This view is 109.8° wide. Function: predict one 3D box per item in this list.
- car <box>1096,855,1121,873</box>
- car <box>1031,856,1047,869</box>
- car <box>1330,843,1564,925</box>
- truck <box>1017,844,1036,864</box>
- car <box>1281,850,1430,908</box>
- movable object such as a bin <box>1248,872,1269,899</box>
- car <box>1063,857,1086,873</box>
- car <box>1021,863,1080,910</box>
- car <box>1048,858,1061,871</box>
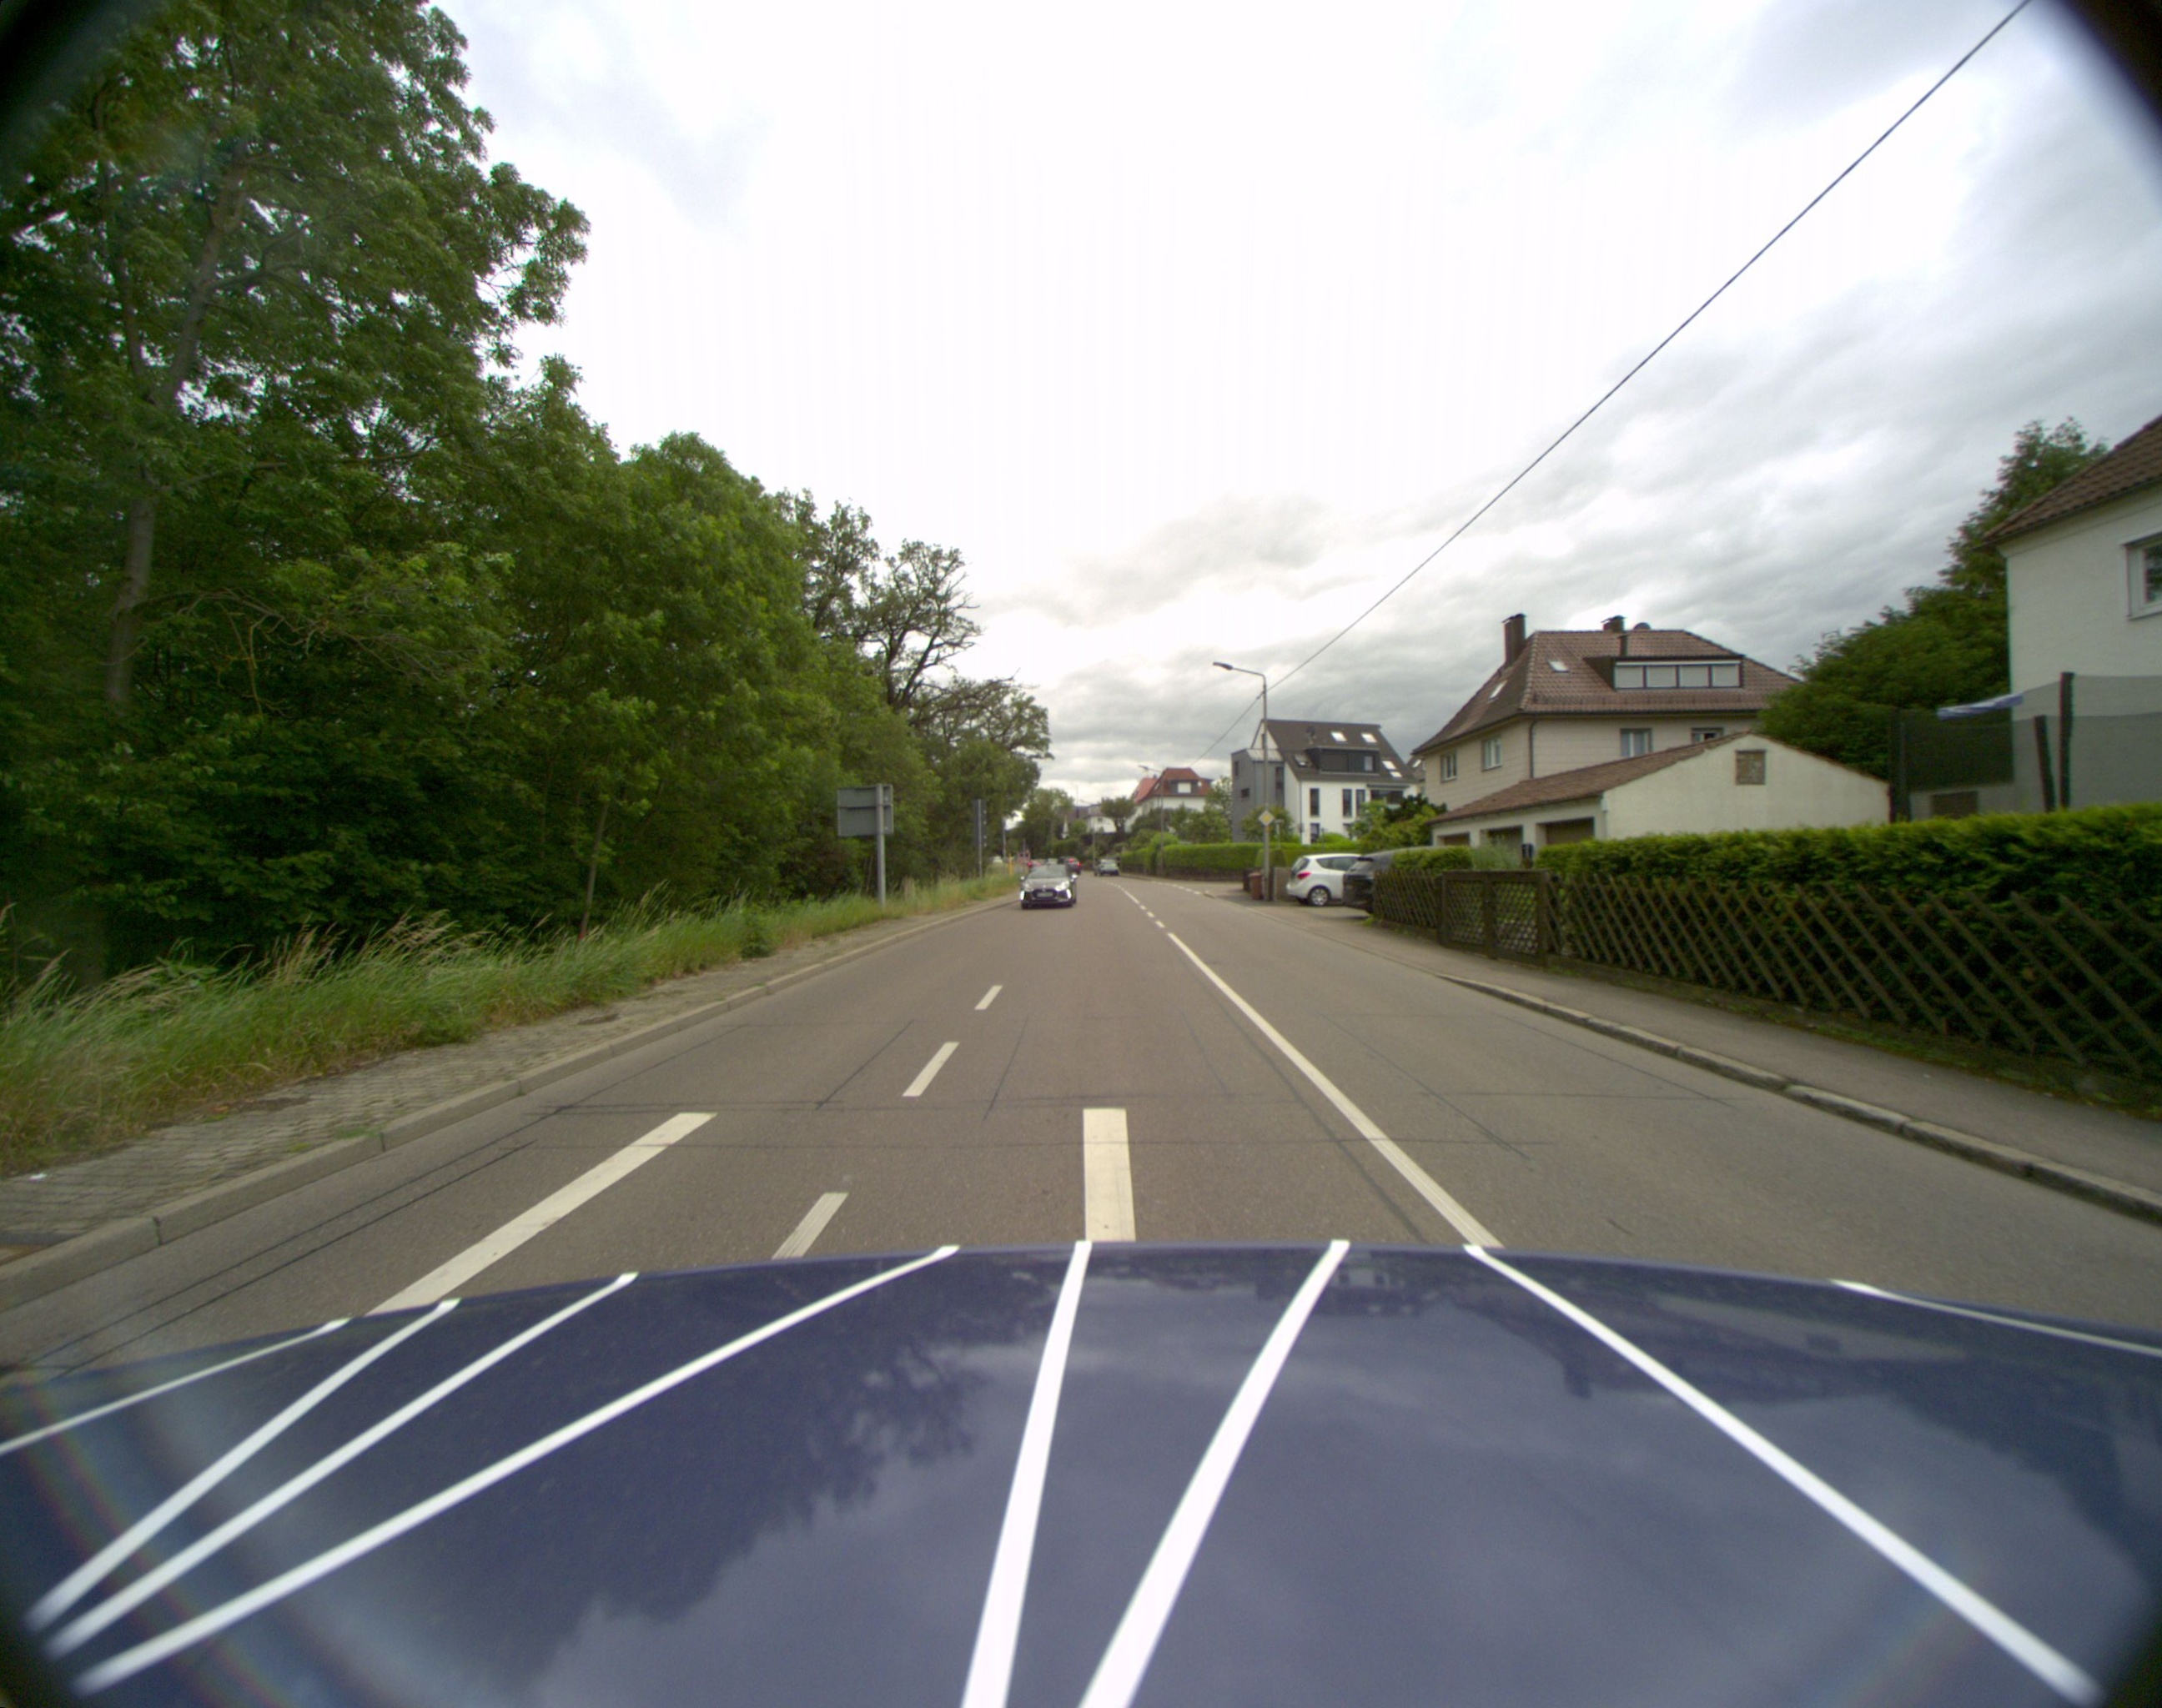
[{"bbox_3d":[2.468,0.881,69.322,1.840,1.514,3.998,-1,0,-5],"label":"car"},{"bbox_3d":[-5.764,1.129,103.542,1.999,1.749,3.998,0,0,-5],"label":"car"},{"bbox_3d":[8.666,0.691,18.299,4.682,1.660,1.882,-2,0,0],"label":"car"},{"bbox_3d":[-10.081,0.071,140.762,3.008,3.618,7.083,0,0,-8],"label":"truck"},{"bbox_3d":[8.488,0.744,23.740,3.997,1.584,1.718,-2,0,1],"label":"car"},{"bbox_3d":[6.277,1.101,26.837,0.689,0.948,0.572,0,0,16],"label":"movable object such as a bin"},{"bbox_3d":[-0.689,1.097,77.029,1.819,1.590,3.953,-1,0,-7],"label":"car"},{"bbox_3d":[-0.987,1.068,26.305,1.730,1.449,3.855,-1,0,2],"label":"car"},{"bbox_3d":[-3.709,1.441,106.636,1.832,1.665,3.998,0,1,-2],"label":"car"}]
